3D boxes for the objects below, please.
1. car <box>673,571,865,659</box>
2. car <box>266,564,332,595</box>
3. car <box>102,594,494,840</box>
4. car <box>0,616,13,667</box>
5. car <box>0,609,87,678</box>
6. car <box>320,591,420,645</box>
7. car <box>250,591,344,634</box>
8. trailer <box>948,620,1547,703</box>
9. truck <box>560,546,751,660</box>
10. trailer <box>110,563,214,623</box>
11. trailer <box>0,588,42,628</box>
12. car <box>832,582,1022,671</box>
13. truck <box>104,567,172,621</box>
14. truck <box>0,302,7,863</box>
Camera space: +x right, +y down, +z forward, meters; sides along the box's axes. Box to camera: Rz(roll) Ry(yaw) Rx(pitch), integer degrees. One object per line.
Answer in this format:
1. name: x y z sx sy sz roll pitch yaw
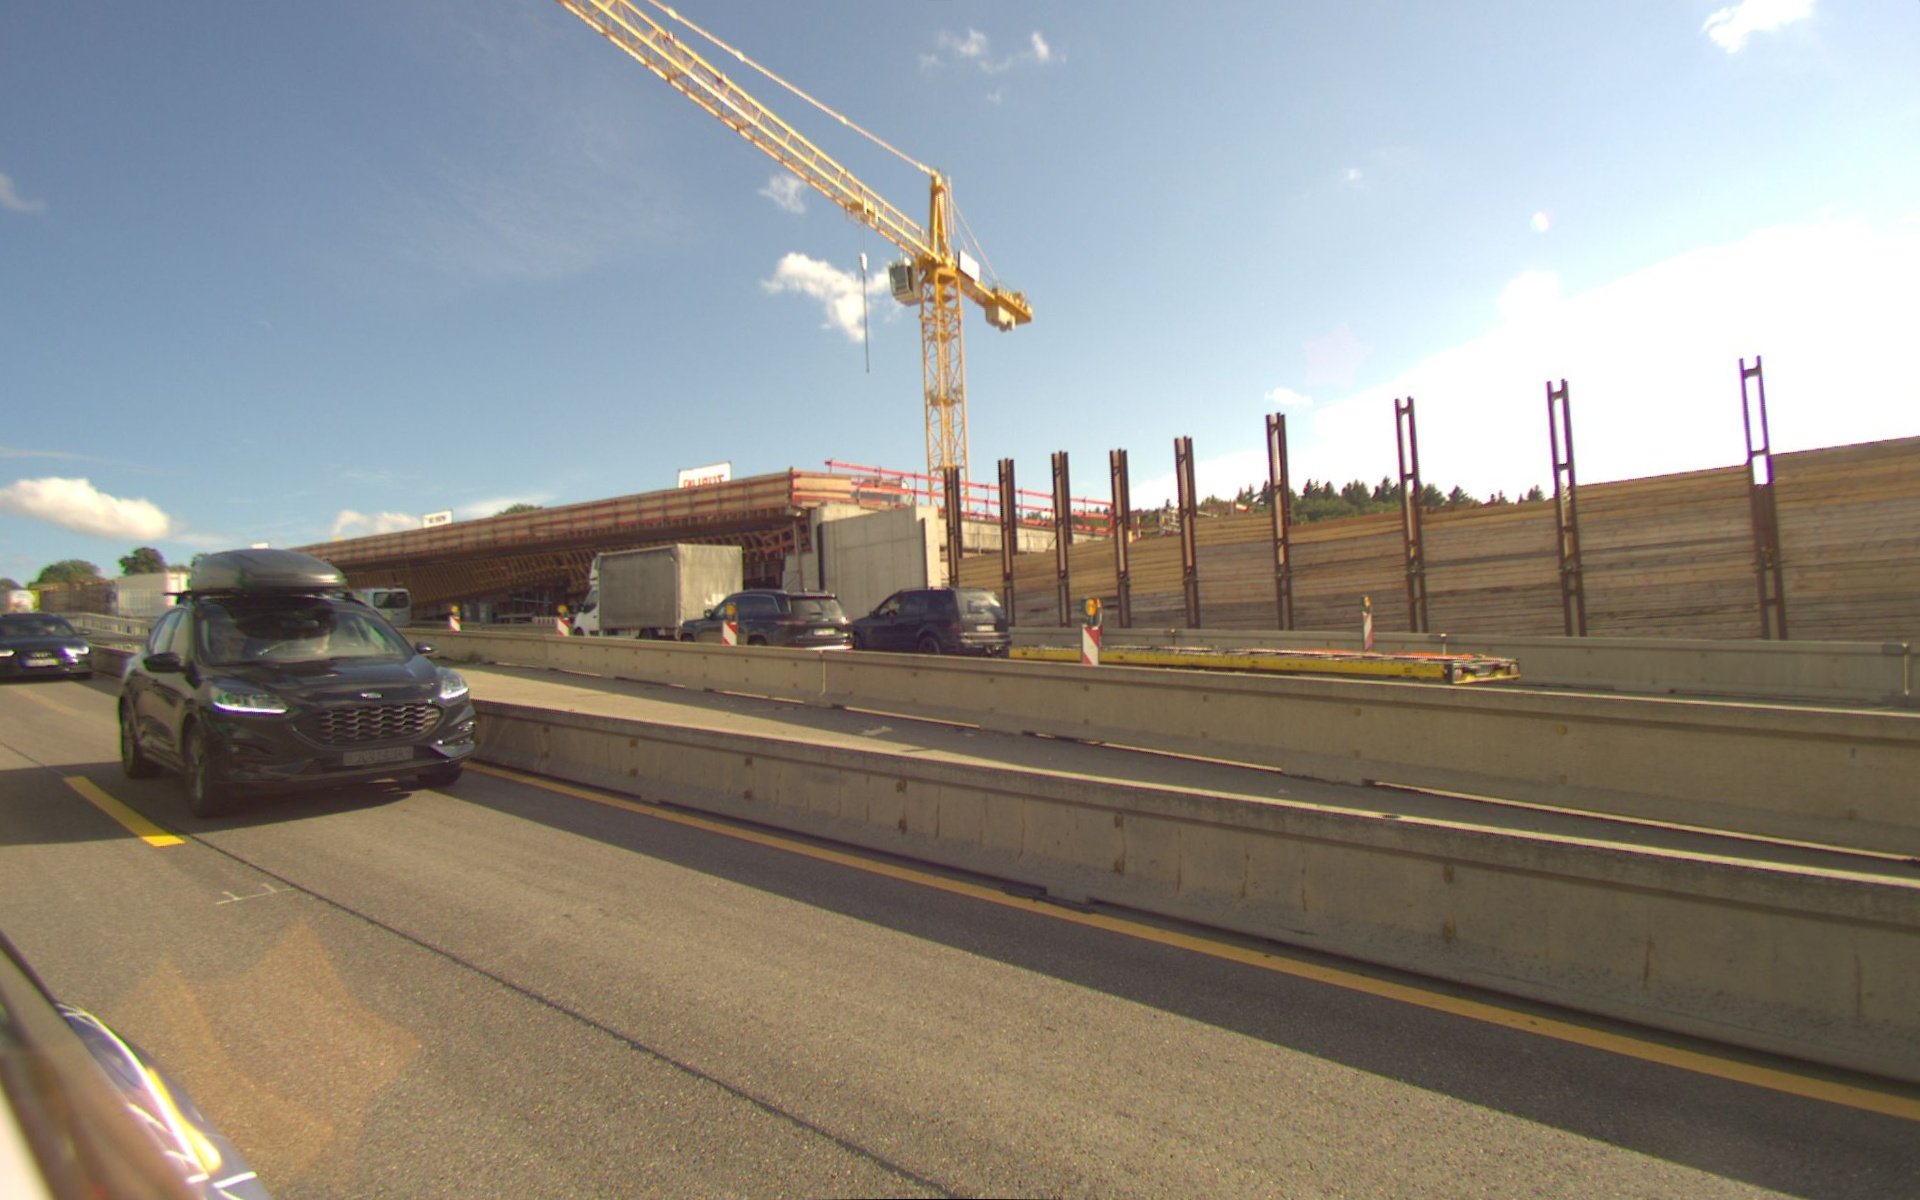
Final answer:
1. car: -4.150 0.319 21.395 1.830 1.648 4.756 -1 -1 -41
2. car: -40.115 -1.242 61.411 4.268 1.686 2.105 -2 0 39
3. car: -5.813 0.796 8.640 4.384 1.554 1.780 -2 0 43
4. car: -32.364 1.333 32.915 4.559 1.576 1.783 0 1 41
5. car: -22.381 0.969 24.261 1.921 1.441 4.508 -1 1 -44
6. car: -28.202 0.806 48.293 5.861 2.420 2.236 0 1 39
7. car: -29.700 0.576 45.277 5.025 1.779 2.105 -2 0 39
8. trailer: 3.952 0.855 17.290 2.322 0.947 10.346 -1 0 -40
9. truck: -10.157 0.066 33.229 7.540 3.336 2.670 0 1 44
10. trailer: -56.311 -0.455 71.182 13.789 3.870 2.793 0 1 39
11. trailer: -103.024 0.841 110.630 13.810 4.187 2.659 0 1 42
12. car: -0.846 0.575 22.997 1.969 1.817 4.452 -1 -1 -40
13. truck: -60.833 -0.416 74.867 6.012 3.817 2.750 0 0 39
14. truck: -10.186 -0.438 8.008 10.309 3.876 2.630 0 1 40
